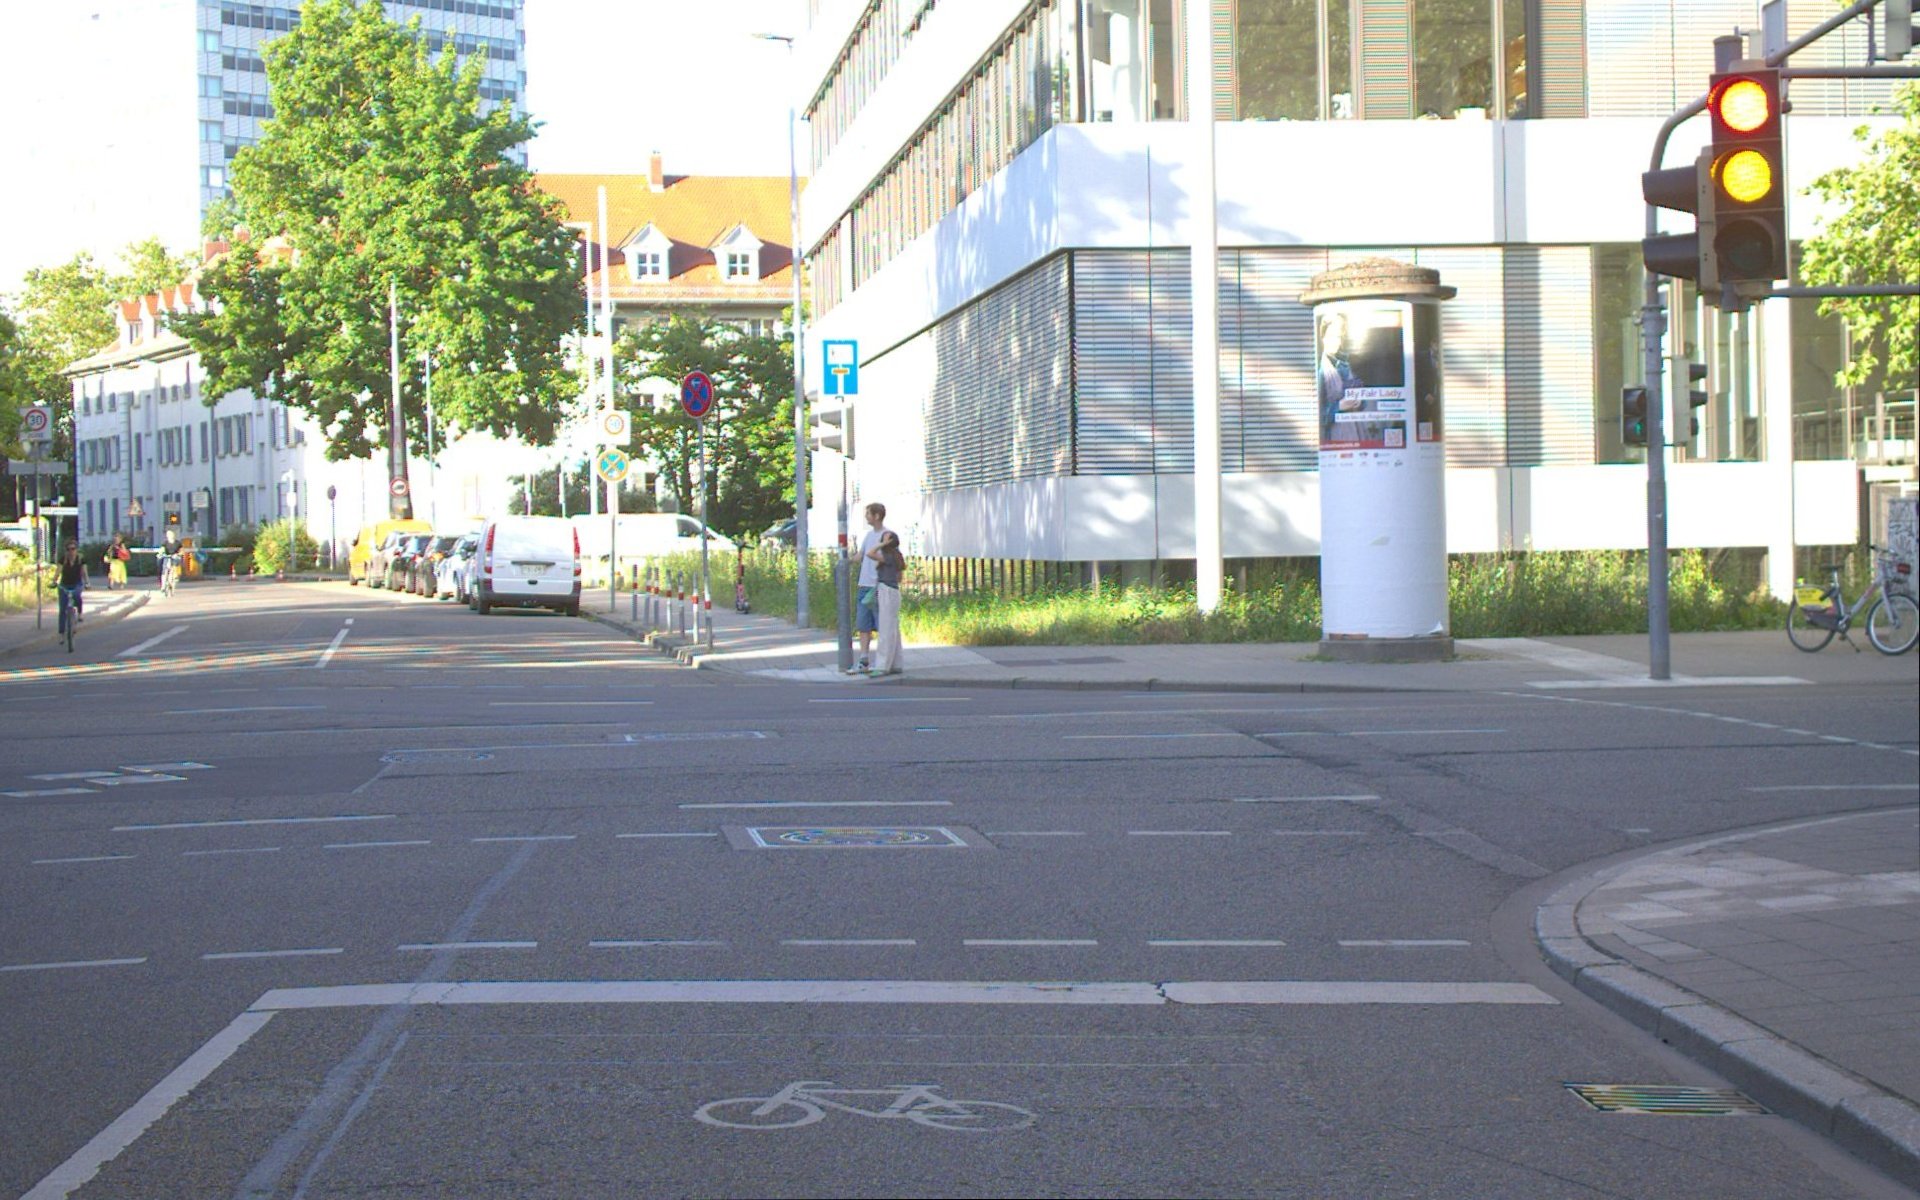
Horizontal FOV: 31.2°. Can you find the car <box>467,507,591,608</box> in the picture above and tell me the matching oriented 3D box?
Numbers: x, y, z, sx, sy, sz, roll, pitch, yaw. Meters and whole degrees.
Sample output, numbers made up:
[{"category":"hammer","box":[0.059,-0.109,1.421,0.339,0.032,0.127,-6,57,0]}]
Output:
[{"category":"car","box":[-8.149,-0.835,64.728,2.084,1.789,4.417,-1,2,-10]}]

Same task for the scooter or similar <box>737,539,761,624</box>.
[{"category":"scooter or similar","box":[-3.594,-0.320,58.580,0.330,1.419,1.335,1,0,-6]}]

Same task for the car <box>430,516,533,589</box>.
[{"category":"car","box":[-10.924,-1.105,78.322,1.888,1.550,4.417,-1,2,-13]}]

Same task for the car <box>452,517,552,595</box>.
[{"category":"car","box":[-9.751,-0.960,72.951,1.888,1.550,4.417,-1,2,-10]}]

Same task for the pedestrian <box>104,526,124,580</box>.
[{"category":"pedestrian","box":[-25.266,-1.402,102.683,0.433,1.602,0.493,-2,1,-26]}]

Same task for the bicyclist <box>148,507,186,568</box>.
[{"category":"bicyclist","box":[-20.525,-1.610,88.960,0.865,1.510,1.019,-4,1,-12]}]

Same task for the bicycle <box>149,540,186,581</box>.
[{"category":"bicycle","box":[-20.496,-1.027,88.956,0.865,1.006,2.415,-4,1,-12]}]

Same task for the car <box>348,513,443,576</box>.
[{"category":"car","box":[-15.704,-1.561,95.504,1.888,1.650,4.417,-1,2,-19]}]

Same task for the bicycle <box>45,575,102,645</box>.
[{"category":"bicycle","box":[-13.029,0.135,50.578,0.615,0.966,1.842,-2,1,-9]}]

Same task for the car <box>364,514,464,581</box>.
[{"category":"car","box":[-14.390,-1.393,90.443,1.888,1.650,4.417,-1,2,-19]}]

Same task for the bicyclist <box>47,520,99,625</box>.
[{"category":"bicyclist","box":[-13.043,-0.412,50.589,0.615,1.527,0.903,-2,1,-9]}]

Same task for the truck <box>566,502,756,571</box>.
[{"category":"truck","box":[-8.972,-1.902,103.059,5.336,2.007,2.001,-1,1,-19]}]

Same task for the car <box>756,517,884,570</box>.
[{"category":"car","box":[-4.257,-1.718,104.247,3.554,1.541,1.559,-1,1,-19]}]

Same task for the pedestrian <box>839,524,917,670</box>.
[{"category":"pedestrian","box":[-0.891,-0.038,37.213,0.559,1.535,0.677,-5,2,-18]}]

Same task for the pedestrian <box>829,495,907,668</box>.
[{"category":"pedestrian","box":[-1.007,-0.209,37.816,0.560,1.844,0.677,-3,2,16]}]

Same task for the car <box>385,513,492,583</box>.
[{"category":"car","box":[-13.008,-1.321,85.569,1.888,1.650,4.417,-1,2,-19]}]

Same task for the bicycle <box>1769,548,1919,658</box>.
[{"category":"bicycle","box":[9.308,0.019,36.047,0.507,1.045,1.687,-4,5,-35]}]
